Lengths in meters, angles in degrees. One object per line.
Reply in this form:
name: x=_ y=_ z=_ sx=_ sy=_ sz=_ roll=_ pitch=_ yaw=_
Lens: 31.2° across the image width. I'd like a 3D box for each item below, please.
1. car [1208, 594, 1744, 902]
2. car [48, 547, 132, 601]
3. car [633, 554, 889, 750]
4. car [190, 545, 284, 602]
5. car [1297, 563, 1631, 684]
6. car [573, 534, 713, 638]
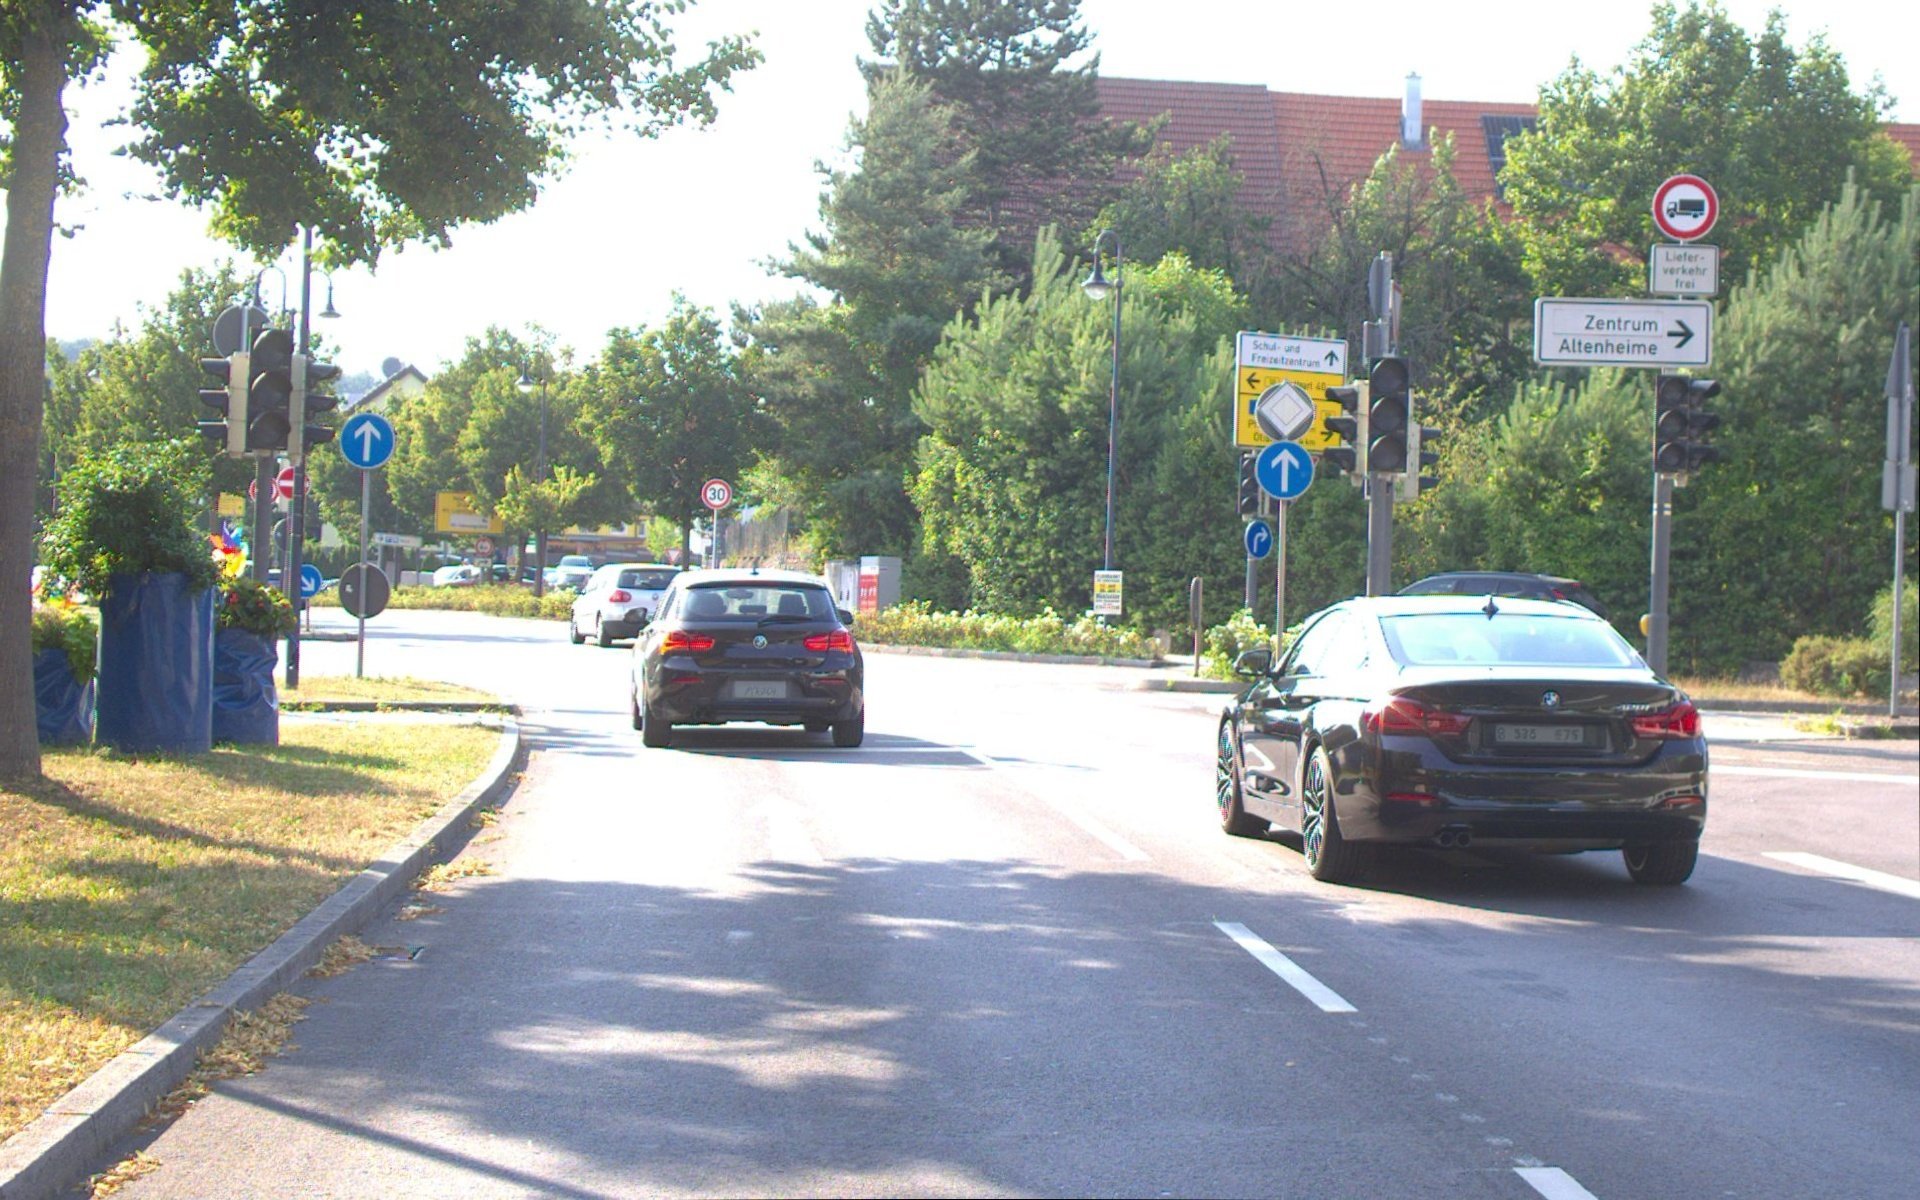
car: x=2.482 y=0.665 z=17.644 sx=1.920 sy=1.359 sz=4.353 roll=1 pitch=0 yaw=-2
car: x=-29.814 y=-0.899 z=117.740 sx=2.216 sy=1.763 sz=4.455 roll=1 pitch=0 yaw=-21
car: x=-1.599 y=0.394 z=28.980 sx=1.721 sy=1.485 sz=4.352 roll=1 pitch=0 yaw=2
car: x=-23.077 y=-0.851 z=109.584 sx=2.216 sy=1.763 sz=4.455 roll=1 pitch=0 yaw=-21
car: x=7.068 y=0.306 z=48.325 sx=4.264 sy=1.561 sz=1.789 roll=1 pitch=1 yaw=31
car: x=-5.704 y=-0.259 z=61.451 sx=1.924 sy=1.763 sz=4.455 roll=1 pitch=0 yaw=-12
